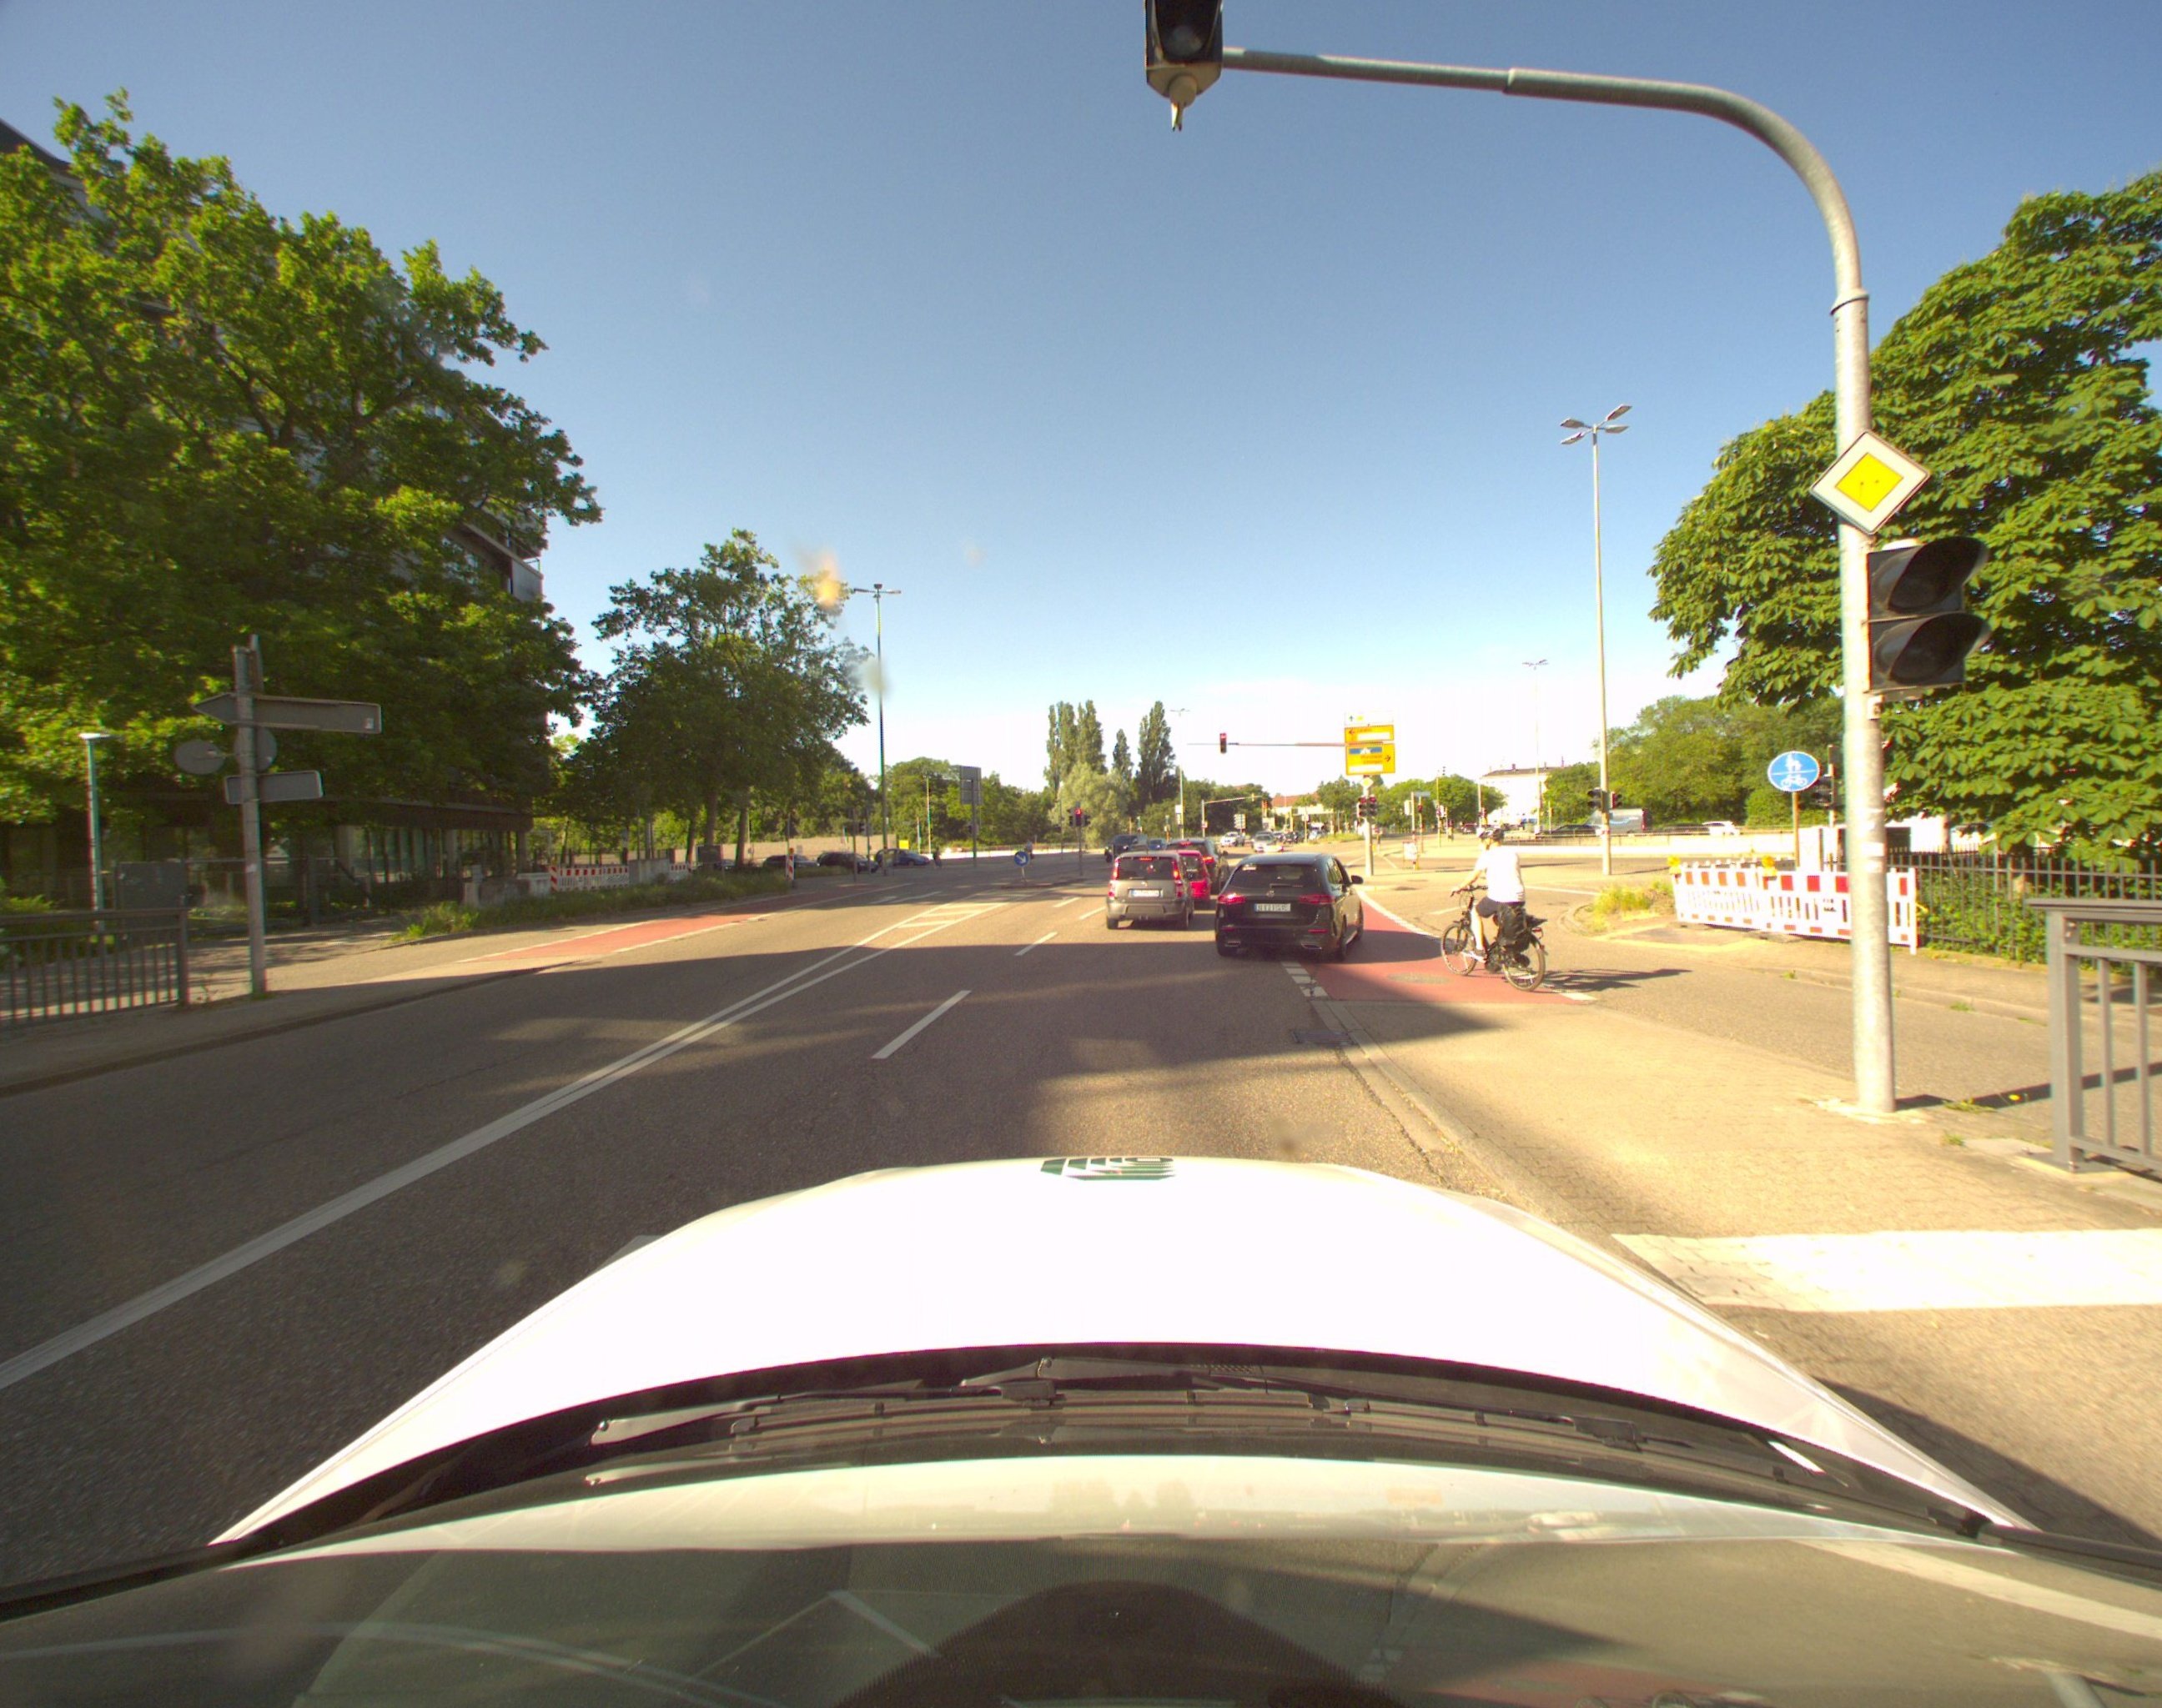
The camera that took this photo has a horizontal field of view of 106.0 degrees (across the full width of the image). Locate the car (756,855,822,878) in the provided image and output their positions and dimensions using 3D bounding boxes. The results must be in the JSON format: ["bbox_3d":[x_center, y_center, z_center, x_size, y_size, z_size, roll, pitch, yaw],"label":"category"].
[{"bbox_3d":[-20.604,0.887,57.405,4.394,1.438,1.837,-2,1,29],"label":"car"}]

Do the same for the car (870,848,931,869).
[{"bbox_3d":[-14.028,0.317,63.261,4.396,1.438,1.837,-2,1,25],"label":"car"}]

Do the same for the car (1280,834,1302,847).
[{"bbox_3d":[24.280,-1.569,94.144,1.976,1.453,4.022,-2,1,22],"label":"car"}]

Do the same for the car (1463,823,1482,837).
[{"bbox_3d":[58.469,-3.553,121.510,1.974,1.794,4.025,-2,-2,34],"label":"car"}]

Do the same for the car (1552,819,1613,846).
[{"bbox_3d":[41.694,-1.776,67.716,3.950,2.014,2.012,-2,-2,45],"label":"car"}]

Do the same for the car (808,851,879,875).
[{"bbox_3d":[-15.594,0.598,53.421,4.394,1.438,1.837,-2,1,29],"label":"car"}]

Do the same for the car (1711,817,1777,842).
[{"bbox_3d":[53.359,-1.951,65.582,3.950,1.750,2.012,-2,-2,45],"label":"car"}]

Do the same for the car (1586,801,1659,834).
[{"bbox_3d":[47.984,-3.174,72.253,2.270,2.607,4.835,0,-2,-33],"label":"car"}]

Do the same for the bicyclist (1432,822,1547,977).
[{"bbox_3d":[4.734,0.491,9.518,0.797,1.705,1.085,0,1,-1],"label":"bicyclist"}]

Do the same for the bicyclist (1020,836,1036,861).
[{"bbox_3d":[-3.691,-0.367,57.153,0.681,1.701,1.203,-2,2,17],"label":"bicyclist"}]

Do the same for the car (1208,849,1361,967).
[{"bbox_3d":[3.325,0.702,12.723,1.735,1.493,4.022,-1,0,22],"label":"car"}]

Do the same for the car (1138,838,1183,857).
[{"bbox_3d":[6.890,-0.589,70.204,1.802,1.503,4.480,-2,1,37],"label":"car"}]

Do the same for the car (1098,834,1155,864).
[{"bbox_3d":[3.269,-0.362,57.086,1.974,1.935,4.882,-2,1,30],"label":"car"}]

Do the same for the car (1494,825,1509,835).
[{"bbox_3d":[80.186,-4.585,155.186,1.974,1.640,4.026,-2,1,35],"label":"car"}]

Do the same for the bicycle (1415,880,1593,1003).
[{"bbox_3d":[4.740,0.918,9.377,0.797,1.110,2.401,0,1,-1],"label":"bicycle"}]

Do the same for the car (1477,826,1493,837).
[{"bbox_3d":[68.637,-3.793,138.318,1.974,1.793,4.026,-2,1,32],"label":"car"}]

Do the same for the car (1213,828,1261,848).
[{"bbox_3d":[15.628,-1.598,81.615,2.011,1.836,4.307,1,-2,-43],"label":"car"}]

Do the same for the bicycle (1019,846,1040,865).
[{"bbox_3d":[-3.616,0.083,57.350,0.681,1.202,2.338,-1,2,17],"label":"bicycle"}]

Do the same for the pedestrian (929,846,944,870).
[{"bbox_3d":[-9.943,0.303,55.922,0.683,1.538,1.367,-1,-4,4],"label":"pedestrian"}]

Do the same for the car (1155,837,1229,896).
[{"bbox_3d":[3.776,0.328,27.044,1.855,1.790,4.433,0,1,16],"label":"car"}]

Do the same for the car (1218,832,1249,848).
[{"bbox_3d":[17.118,-1.599,91.141,1.816,1.653,4.658,-2,1,31],"label":"car"}]

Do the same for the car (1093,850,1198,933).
[{"bbox_3d":[1.486,0.697,17.275,1.809,1.489,4.012,-1,1,10],"label":"car"}]

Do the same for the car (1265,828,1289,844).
[{"bbox_3d":[19.995,-1.836,83.037,1.708,1.582,4.025,-2,1,22],"label":"car"}]

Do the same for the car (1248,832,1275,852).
[{"bbox_3d":[15.318,-1.069,69.056,1.806,1.582,4.123,-2,1,17],"label":"car"}]

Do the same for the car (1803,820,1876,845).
[{"bbox_3d":[57.381,-1.597,61.654,3.950,1.684,1.867,-2,-2,45],"label":"car"}]

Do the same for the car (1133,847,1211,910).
[{"bbox_3d":[2.513,0.592,21.675,1.809,1.479,4.011,-1,0,9],"label":"car"}]
